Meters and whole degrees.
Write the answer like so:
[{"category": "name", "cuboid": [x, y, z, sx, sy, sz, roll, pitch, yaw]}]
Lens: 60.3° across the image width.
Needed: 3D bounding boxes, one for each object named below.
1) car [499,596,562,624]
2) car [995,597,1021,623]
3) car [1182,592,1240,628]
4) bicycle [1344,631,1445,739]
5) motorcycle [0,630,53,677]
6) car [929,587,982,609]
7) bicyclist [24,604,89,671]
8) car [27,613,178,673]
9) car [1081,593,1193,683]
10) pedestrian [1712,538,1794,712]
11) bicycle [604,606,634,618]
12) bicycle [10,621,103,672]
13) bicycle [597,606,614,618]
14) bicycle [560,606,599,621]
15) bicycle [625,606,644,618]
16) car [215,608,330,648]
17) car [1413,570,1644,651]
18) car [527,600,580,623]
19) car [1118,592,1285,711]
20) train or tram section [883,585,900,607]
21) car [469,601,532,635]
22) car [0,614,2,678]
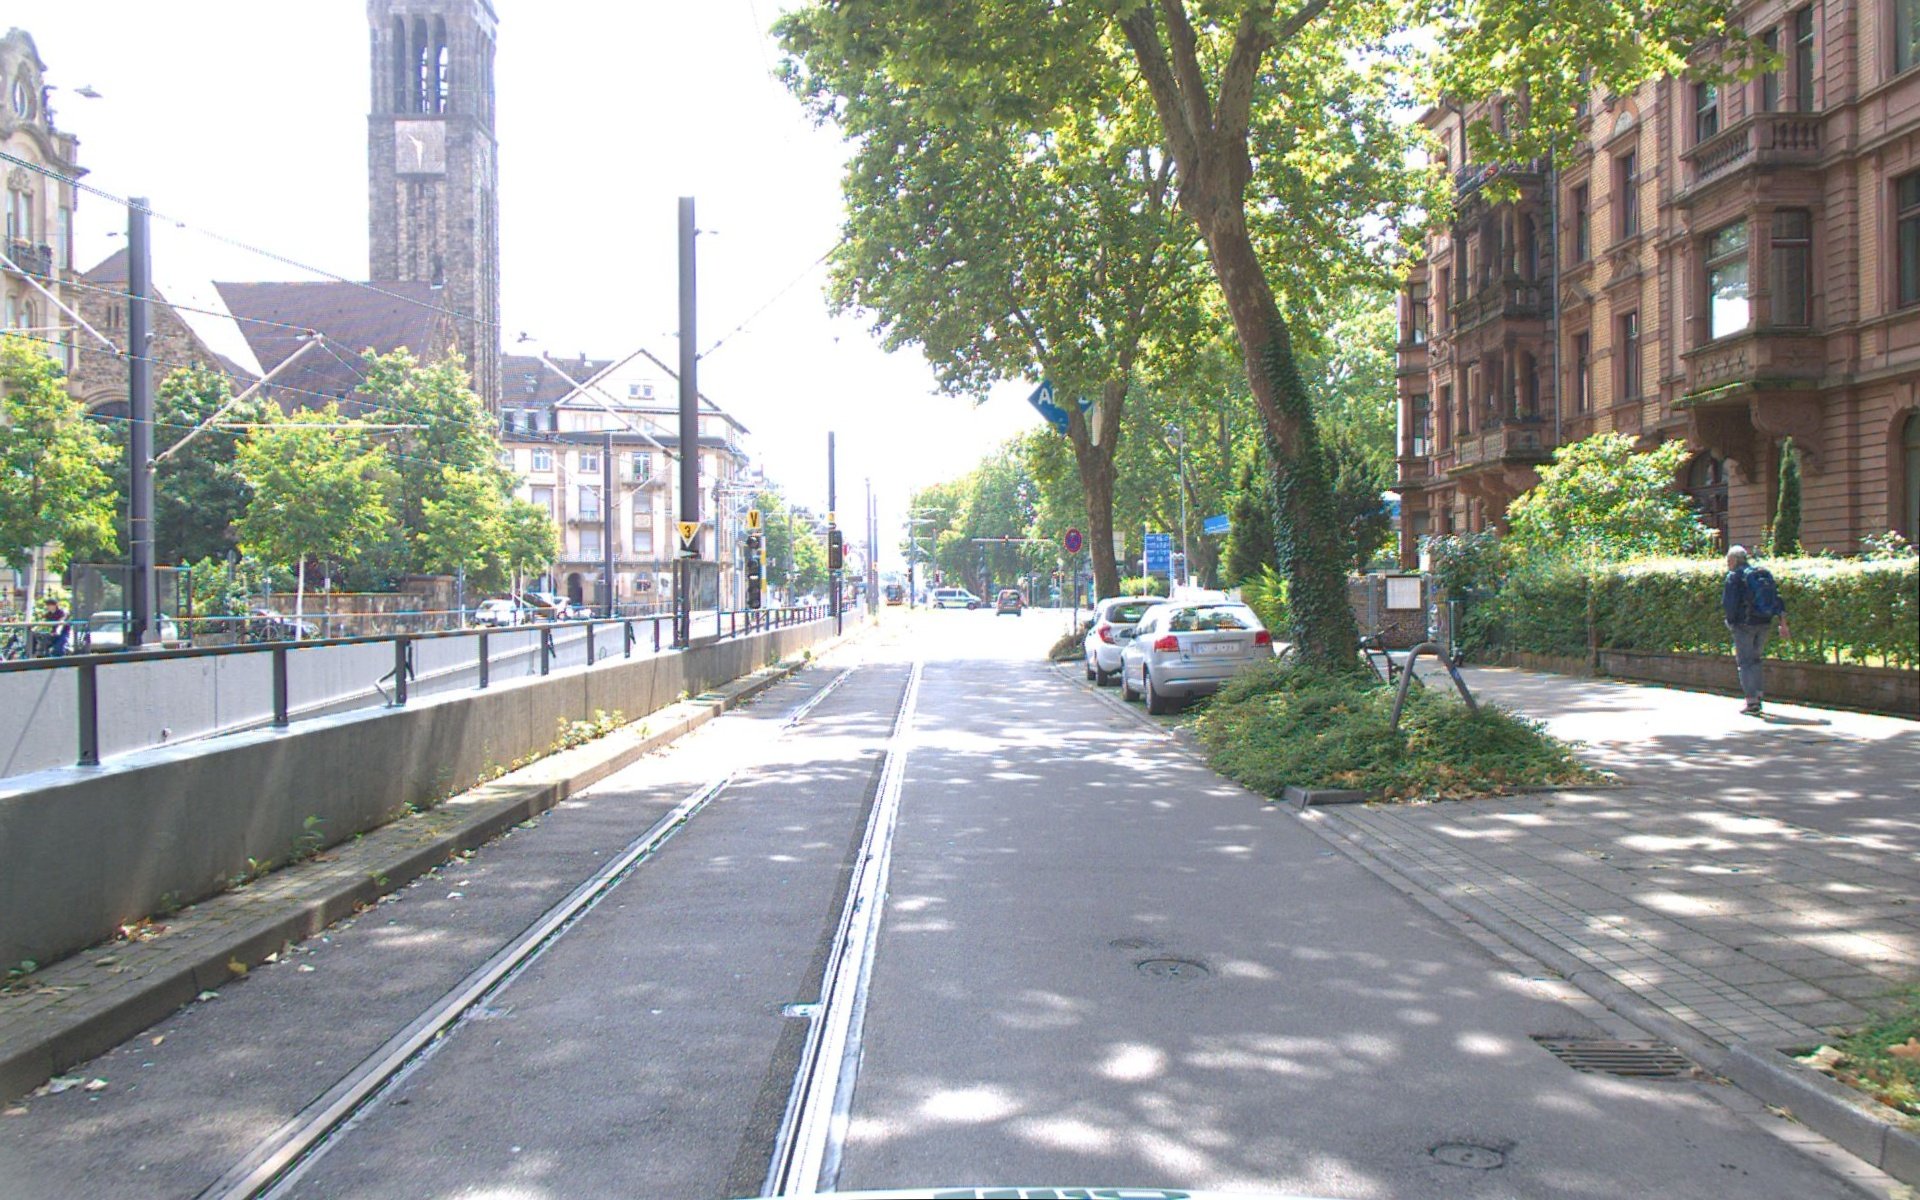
[{"category": "car", "cuboid": [-28.698, 0.670, 110.590, 3.793, 1.779, 1.894, -1, 0, -4]}, {"category": "car", "cuboid": [3.437, 0.702, 118.957, 1.714, 1.840, 3.474, 1, 0, 0]}, {"category": "car", "cuboid": [10.666, 0.415, 70.503, 1.769, 1.481, 4.000, 0, 0, -1]}, {"category": "bicycle", "cuboid": [4.471, 0.854, 17.076, 0.568, 1.037, 1.322, -1, 0, -6]}, {"category": "motorcycle", "cuboid": [-21.084, 1.190, 36.156, 1.725, 0.958, 1.417, -3, 0, -2]}, {"category": "car", "cuboid": [-0.408, -0.197, 154.663, 4.634, 1.892, 2.002, -1, 0, 7]}, {"category": "bicyclist", "cuboid": [-19.194, 0.793, 35.171, 0.752, 1.361, 1.049, -2, 0, 0]}, {"category": "car", "cuboid": [-21.622, 1.045, 41.886, 1.716, 1.351, 4.310, -1, 0, -3]}, {"category": "car", "cuboid": [3.112, 0.636, 29.736, 1.522, 1.511, 3.857, -1, 0, -1]}, {"category": "pedestrian", "cuboid": [8.502, 0.261, 17.750, 0.552, 1.817, 0.630, -1, 0, -1]}, {"category": "bicycle", "cuboid": [-30.272, 1.050, 146.982, 2.529, 1.071, 0.676, -1, 0, -29]}, {"category": "bicycle", "cuboid": [-19.203, 0.977, 35.205, 0.760, 0.996, 2.140, -3, 0, 0]}, {"category": "bicycle", "cuboid": [-31.764, 1.041, 148.104, 0.795, 1.071, 2.541, -1, 0, -29]}, {"category": "bicycle", "cuboid": [-33.619, 1.154, 146.053, 3.239, 1.275, 0.999, -1, 0, 16]}, {"category": "bicycle", "cuboid": [-29.376, 1.054, 149.313, 0.786, 1.071, 2.568, -1, 0, 11]}, {"category": "car", "cuboid": [-27.667, 1.133, 66.611, 3.881, 1.489, 1.723, -1, 0, -1]}, {"category": "car", "cuboid": [11.873, 0.215, 34.741, 4.148, 1.495, 1.941, -2, 0, -1]}, {"category": "car", "cuboid": [-27.975, 0.809, 113.881, 3.199, 1.528, 1.854, -1, 0, -2]}, {"category": "car", "cuboid": [3.233, 0.651, 22.801, 1.644, 1.469, 3.857, -1, 0, -1]}, {"category": "train or tram section", "cuboid": [-10.756, -0.591, 260.489, 2.195, 3.390, 12.970, -1, 0, 0]}, {"category": "car", "cuboid": [-21.879, 0.856, 78.890, 1.892, 1.531, 4.412, -1, 0, -2]}, {"category": "car", "cuboid": [-21.008, 0.987, 32.618, 1.979, 1.350, 4.098, -1, 0, -3]}]
